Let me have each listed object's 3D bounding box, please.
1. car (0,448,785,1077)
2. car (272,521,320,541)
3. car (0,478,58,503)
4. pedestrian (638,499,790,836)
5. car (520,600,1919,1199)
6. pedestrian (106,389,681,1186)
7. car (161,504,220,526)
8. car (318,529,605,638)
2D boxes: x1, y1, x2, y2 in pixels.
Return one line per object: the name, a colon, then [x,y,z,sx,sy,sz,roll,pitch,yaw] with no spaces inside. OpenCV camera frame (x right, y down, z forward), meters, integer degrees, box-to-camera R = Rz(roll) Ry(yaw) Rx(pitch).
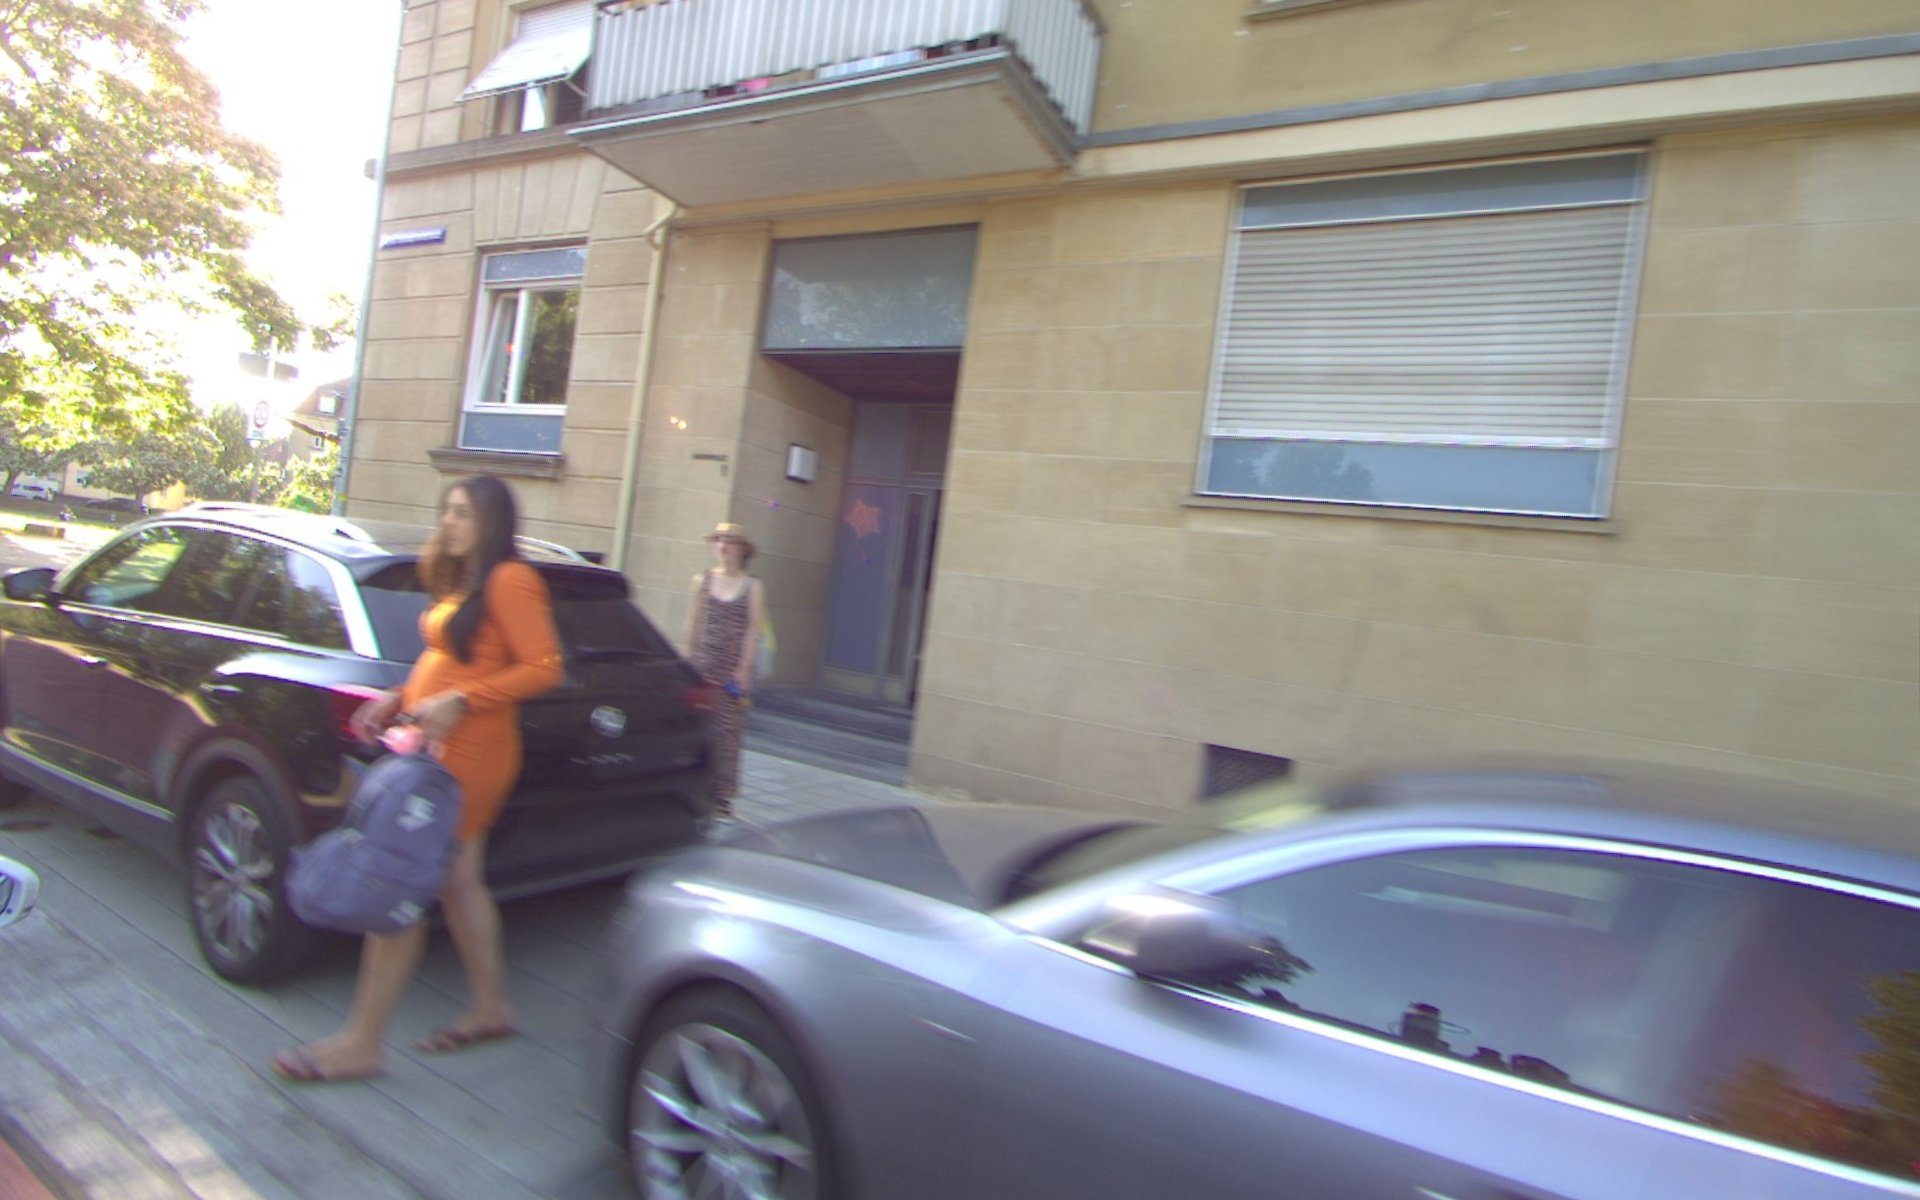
car: [-3.104,0.317,4.653,4.274,1.647,1.705,9,2,30]
car: [-72.954,-7.595,110.554,3.927,1.470,1.880,8,-1,-2]
car: [-95.901,-11.219,103.248,4.472,1.767,1.869,8,-1,-26]
pedestrian: [-1.458,0.394,6.080,0.547,1.851,0.731,8,-1,-6]
car: [1.198,0.982,2.110,4.277,1.438,1.704,7,1,32]
pedestrian: [-1.540,0.428,2.860,0.765,1.790,0.955,8,-1,28]
car: [-78.997,-8.730,103.305,4.294,1.470,1.878,8,-1,-9]
car: [-8.968,-0.212,18.562,1.901,1.435,4.453,7,-1,24]
